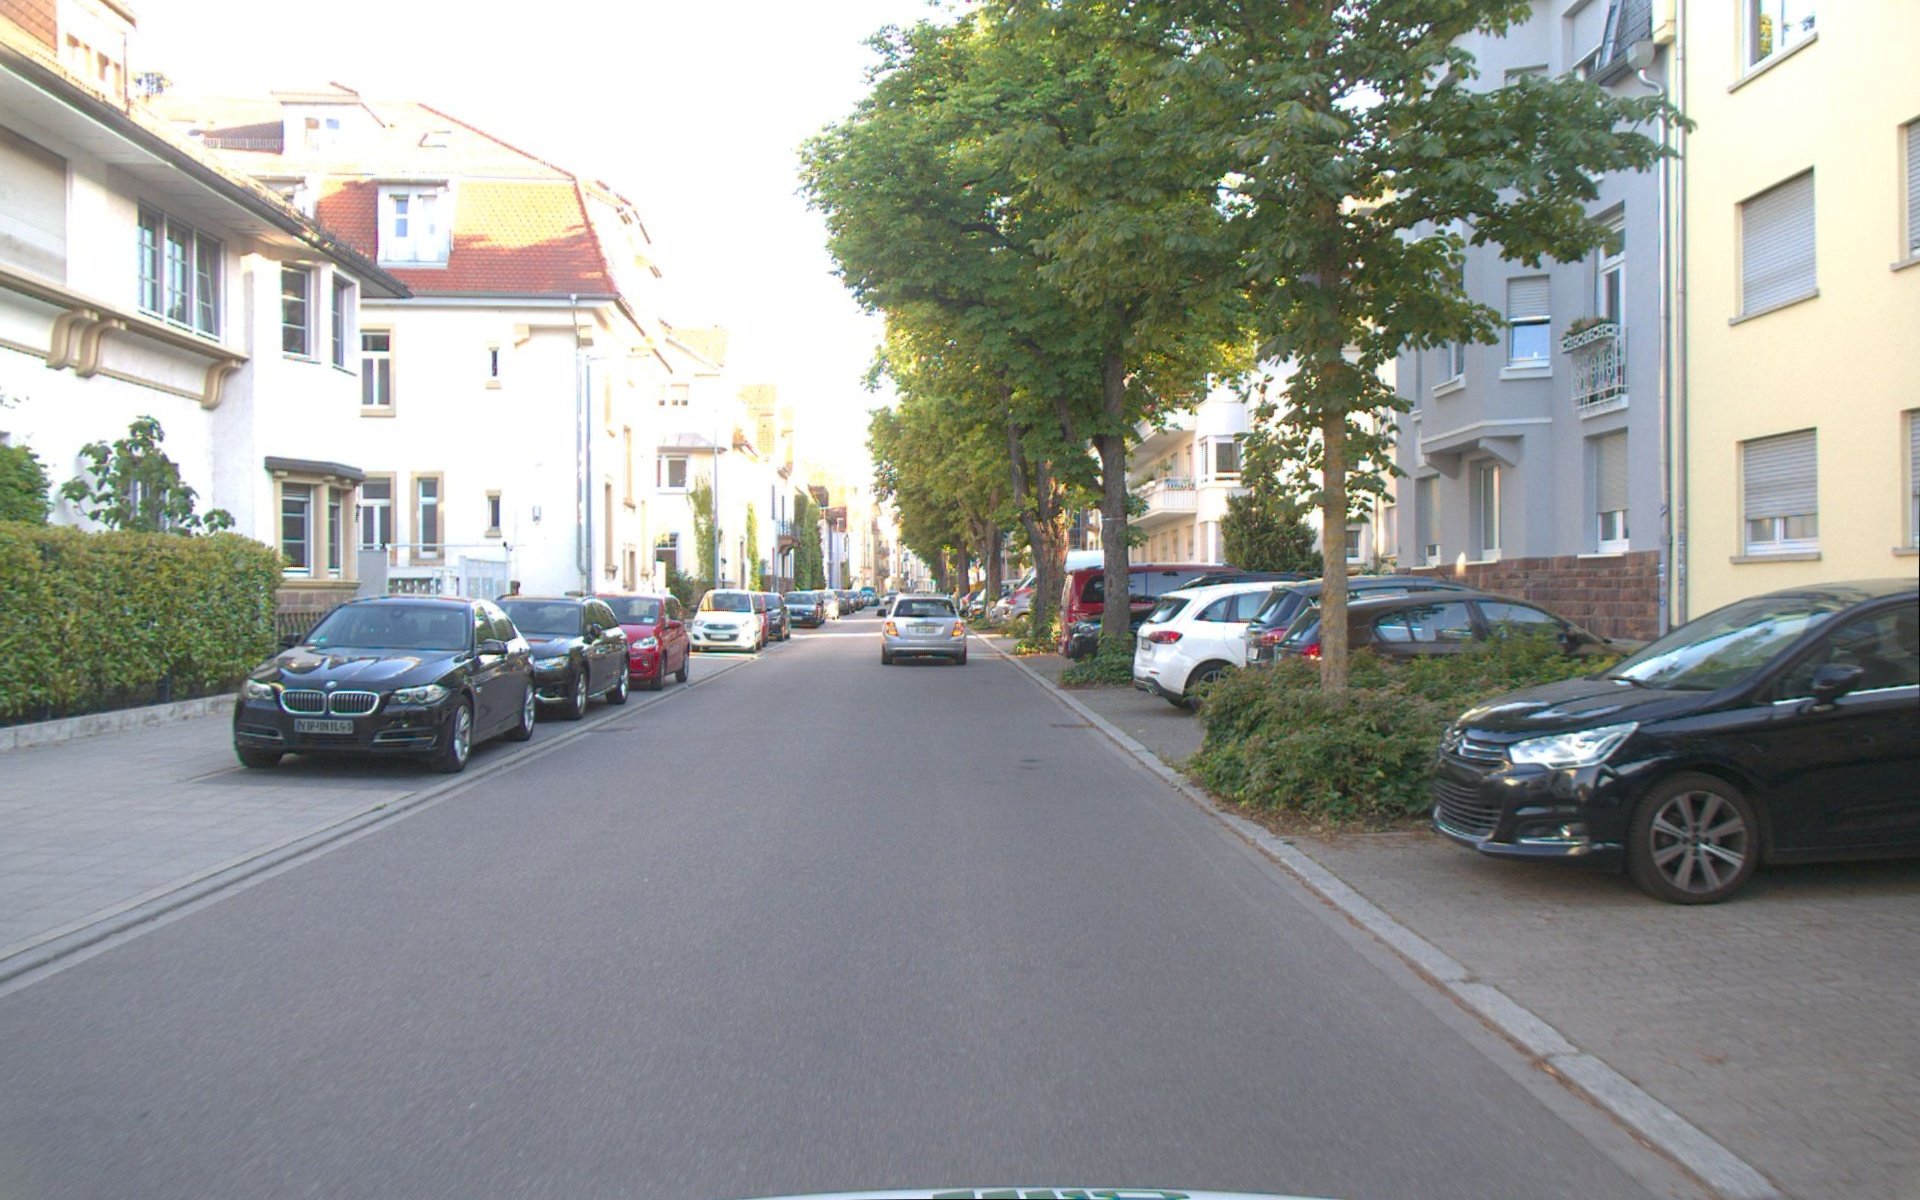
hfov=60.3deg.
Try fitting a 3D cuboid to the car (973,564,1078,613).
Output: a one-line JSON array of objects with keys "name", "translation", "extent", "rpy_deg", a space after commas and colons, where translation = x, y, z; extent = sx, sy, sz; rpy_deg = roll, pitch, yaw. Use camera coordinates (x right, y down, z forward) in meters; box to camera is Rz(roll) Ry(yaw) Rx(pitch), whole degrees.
[{"name": "car", "translation": [2.850, -0.498, 72.818], "extent": [4.429, 2.049, 2.250], "rpy_deg": [-1, 1, -4]}]

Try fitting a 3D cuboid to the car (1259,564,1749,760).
[{"name": "car", "translation": [4.784, 0.509, 14.927], "extent": [3.844, 1.585, 1.725], "rpy_deg": [-1, 1, 0]}]

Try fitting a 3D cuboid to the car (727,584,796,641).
[{"name": "car", "translation": [-6.112, 0.350, 51.207], "extent": [1.763, 1.673, 3.856], "rpy_deg": [0, 1, -2]}]

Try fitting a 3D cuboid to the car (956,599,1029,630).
[{"name": "car", "translation": [1.678, 0.732, 86.408], "extent": [3.766, 1.508, 1.805], "rpy_deg": [-1, 1, -1]}]

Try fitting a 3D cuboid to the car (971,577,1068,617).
[{"name": "car", "translation": [2.364, -0.141, 66.347], "extent": [3.766, 1.508, 1.805], "rpy_deg": [-1, 1, -1]}]

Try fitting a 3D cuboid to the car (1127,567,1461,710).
[{"name": "car", "translation": [3.994, 0.443, 20.151], "extent": [3.656, 1.585, 1.724], "rpy_deg": [-1, 0, -3]}]

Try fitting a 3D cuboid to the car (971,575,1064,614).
[{"name": "car", "translation": [2.379, -0.238, 68.620], "extent": [3.766, 1.508, 1.805], "rpy_deg": [-1, 1, -1]}]

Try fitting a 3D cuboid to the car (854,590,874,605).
[{"name": "car", "translation": [-9.255, -0.274, 159.277], "extent": [1.763, 1.411, 3.605], "rpy_deg": [0, 1, -2]}]

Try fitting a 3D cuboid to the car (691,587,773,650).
[{"name": "car", "translation": [-5.753, 0.443, 42.051], "extent": [1.625, 1.526, 3.753], "rpy_deg": [0, 0, -1]}]

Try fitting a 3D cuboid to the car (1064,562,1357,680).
[{"name": "car", "translation": [4.057, 0.327, 27.318], "extent": [4.532, 1.868, 1.953], "rpy_deg": [0, 0, -2]}]

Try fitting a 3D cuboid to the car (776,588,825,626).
[{"name": "car", "translation": [-6.651, 0.279, 69.235], "extent": [1.763, 1.508, 3.856], "rpy_deg": [0, 1, -2]}]

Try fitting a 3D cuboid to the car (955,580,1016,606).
[{"name": "car", "translation": [1.607, -0.452, 103.894], "extent": [3.766, 1.508, 1.805], "rpy_deg": [-1, 1, -1]}]

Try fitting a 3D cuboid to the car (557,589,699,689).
[{"name": "car", "translation": [-5.356, 0.594, 27.096], "extent": [1.625, 1.514, 3.753], "rpy_deg": [0, 0, -1]}]

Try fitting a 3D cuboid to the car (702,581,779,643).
[{"name": "car", "translation": [-6.150, 0.344, 46.621], "extent": [1.763, 1.673, 3.855], "rpy_deg": [0, -1, -2]}]

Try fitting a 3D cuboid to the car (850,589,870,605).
[{"name": "car", "translation": [-9.120, -0.326, 150.890], "extent": [1.763, 1.411, 3.605], "rpy_deg": [0, 1, -2]}]

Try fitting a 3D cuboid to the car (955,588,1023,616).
[{"name": "car", "translation": [1.636, 0.084, 94.359], "extent": [3.766, 1.508, 1.805], "rpy_deg": [-1, 1, -1]}]

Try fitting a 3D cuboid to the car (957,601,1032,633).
[{"name": "car", "translation": [1.722, 0.836, 83.818], "extent": [3.766, 1.508, 1.805], "rpy_deg": [-1, 1, -1]}]

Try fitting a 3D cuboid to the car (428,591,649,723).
[{"name": "car", "translation": [-5.318, 0.657, 21.487], "extent": [1.747, 1.524, 4.698], "rpy_deg": [0, 0, -1]}]

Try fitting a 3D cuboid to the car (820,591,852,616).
[{"name": "car", "translation": [-7.455, 0.189, 99.452], "extent": [1.763, 1.411, 3.605], "rpy_deg": [0, 1, -2]}]

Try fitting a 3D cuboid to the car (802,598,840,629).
[{"name": "car", "translation": [-7.150, 0.662, 85.498], "extent": [1.763, 1.508, 3.856], "rpy_deg": [0, 1, -2]}]

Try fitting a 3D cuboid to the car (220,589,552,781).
[{"name": "car", "translation": [-5.170, 0.676, 15.586], "extent": [1.818, 1.524, 4.651], "rpy_deg": [0, 0, -4]}]

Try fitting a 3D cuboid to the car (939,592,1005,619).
[{"name": "car", "translation": [0.692, 0.333, 96.857], "extent": [3.766, 1.508, 1.805], "rpy_deg": [-1, 1, -1]}]

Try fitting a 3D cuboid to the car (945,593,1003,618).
[{"name": "car", "translation": [0.892, 0.356, 107.938], "extent": [3.766, 1.508, 1.805], "rpy_deg": [-1, 1, -1]}]

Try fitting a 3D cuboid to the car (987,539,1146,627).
[{"name": "car", "translation": [3.795, -0.618, 59.807], "extent": [5.433, 3.020, 2.470], "rpy_deg": [-1, 1, -4]}]

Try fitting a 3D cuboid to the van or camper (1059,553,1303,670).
[{"name": "van or camper", "translation": [3.944, 0.197, 30.076], "extent": [4.224, 2.049, 2.000], "rpy_deg": [0, 0, 1]}]

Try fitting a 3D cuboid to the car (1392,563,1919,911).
[{"name": "car", "translation": [4.612, 0.611, 8.770], "extent": [4.107, 1.585, 1.873], "rpy_deg": [-1, 0, -3]}]

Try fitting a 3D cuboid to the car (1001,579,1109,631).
[{"name": "car", "translation": [3.232, 0.168, 56.733], "extent": [3.523, 1.688, 1.649], "rpy_deg": [-1, 1, -4]}]

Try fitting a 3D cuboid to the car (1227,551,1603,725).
[{"name": "car", "translation": [4.758, 0.380, 17.609], "extent": [3.476, 1.683, 1.724], "rpy_deg": [-1, 0, -3]}]

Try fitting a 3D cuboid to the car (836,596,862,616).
[{"name": "car", "translation": [-8.120, 0.442, 120.855], "extent": [1.763, 1.411, 3.605], "rpy_deg": [0, 1, -2]}]

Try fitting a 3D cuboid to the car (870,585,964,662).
[{"name": "car", "translation": [-0.837, 0.481, 34.750], "extent": [1.779, 1.498, 4.217], "rpy_deg": [-1, 0, 1]}]

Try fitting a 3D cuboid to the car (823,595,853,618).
[{"name": "car", "translation": [-8.033, 0.420, 109.050], "extent": [1.763, 1.411, 3.605], "rpy_deg": [0, 1, -2]}]

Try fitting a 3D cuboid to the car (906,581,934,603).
[{"name": "car", "translation": [-2.754, -0.543, 115.146], "extent": [1.779, 1.498, 4.217], "rpy_deg": [-1, 0, 1]}]
